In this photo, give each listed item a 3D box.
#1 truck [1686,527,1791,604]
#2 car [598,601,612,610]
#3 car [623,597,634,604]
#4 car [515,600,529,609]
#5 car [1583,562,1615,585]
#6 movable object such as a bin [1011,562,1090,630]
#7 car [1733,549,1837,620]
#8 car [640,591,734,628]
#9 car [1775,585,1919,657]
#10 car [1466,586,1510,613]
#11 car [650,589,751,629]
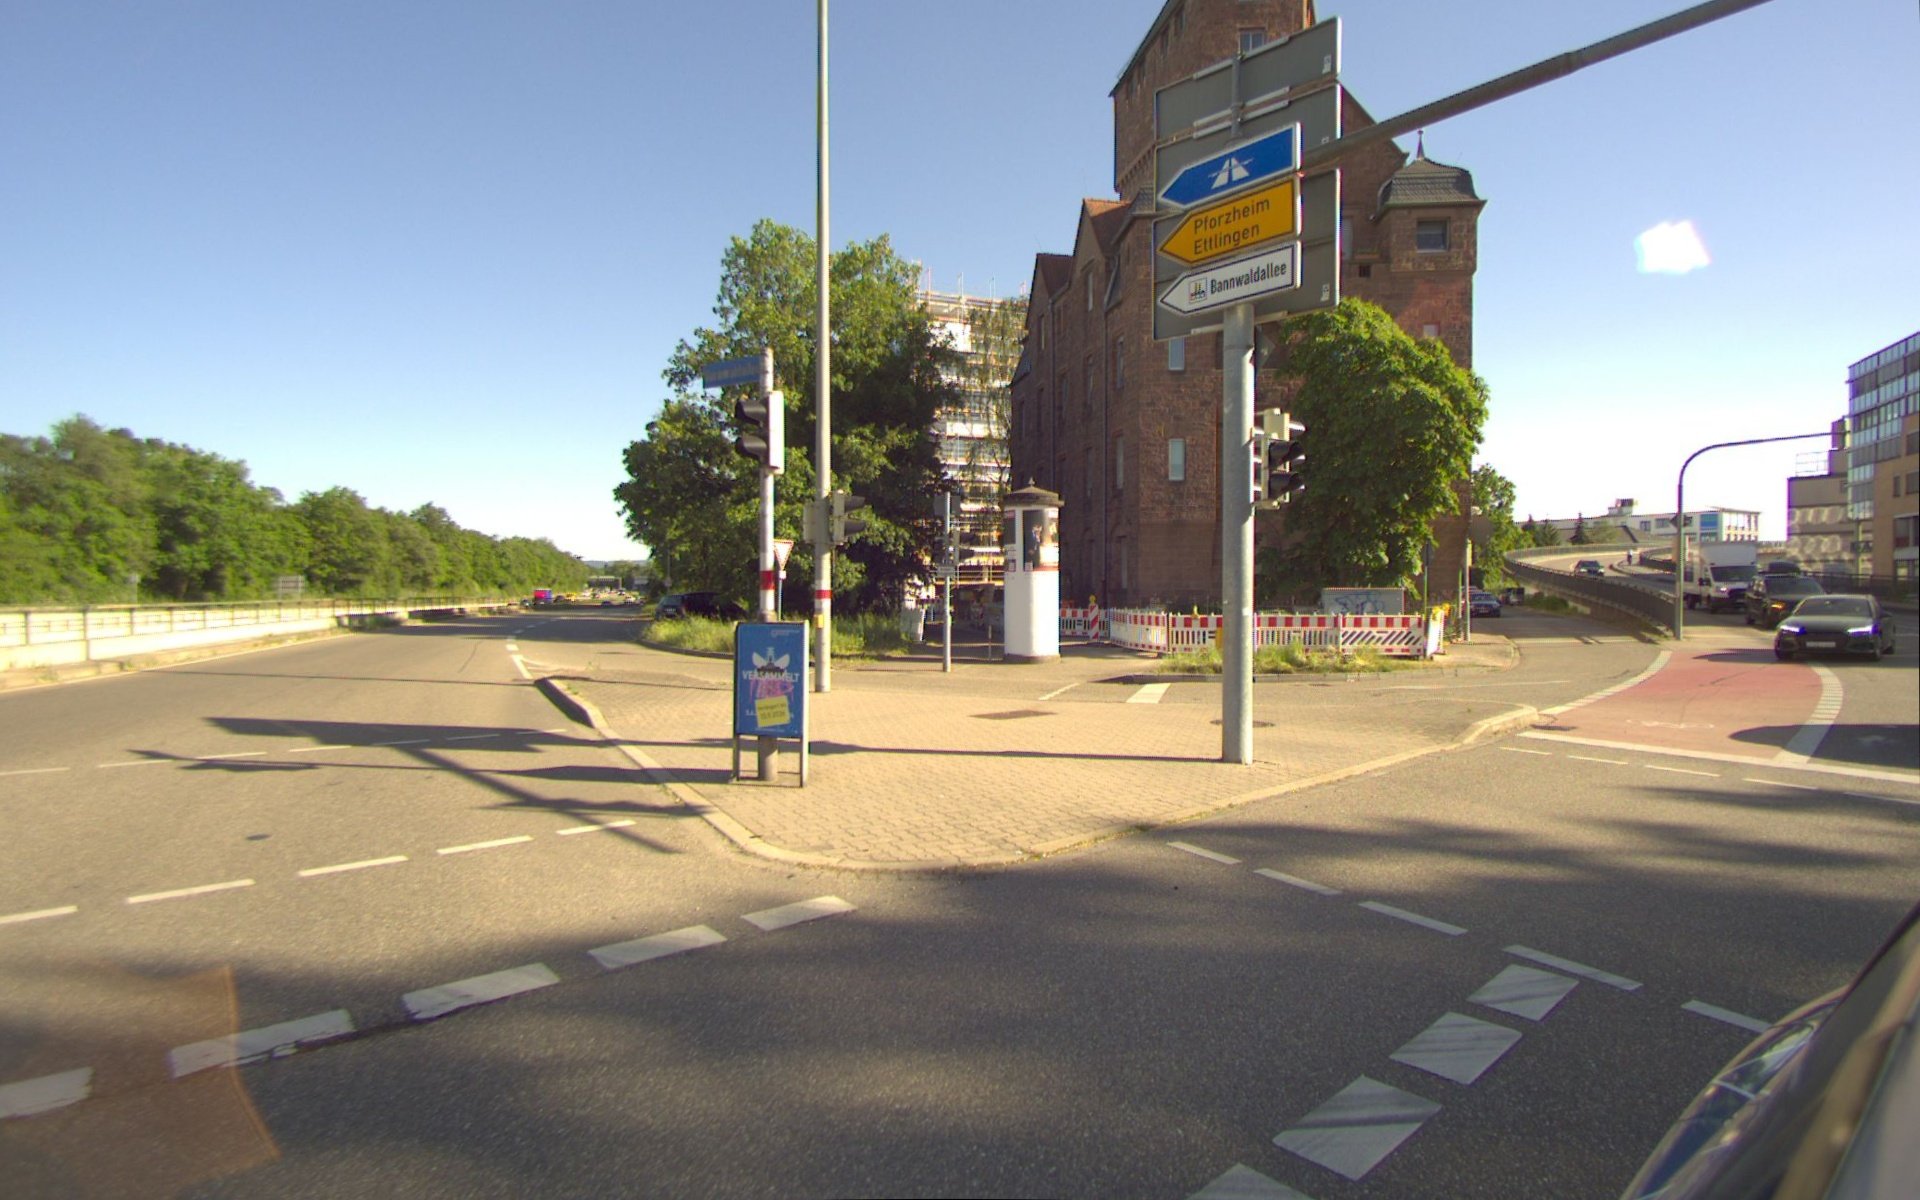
[{"bbox_3d":[34.751,-1.476,45.441,2.480,3.167,6.894,0,1,27],"label":"truck"},{"bbox_3d":[-60.463,0.896,172.424,1.958,1.415,4.008,-2,1,-17],"label":"car"},{"bbox_3d":[-67.399,0.064,205.536,1.958,1.415,4.008,-2,1,-17],"label":"car"},{"bbox_3d":[-79.161,0.833,182.996,1.958,1.415,4.008,-2,1,-17],"label":"car"},{"bbox_3d":[53.064,-2.185,84.112,1.741,1.781,4.740,0,1,27],"label":"car"},{"bbox_3d":[3.352,-0.163,38.191,1.958,2.440,4.007,0,0,-10],"label":"movable object such as a bin"},{"bbox_3d":[28.645,-0.542,35.291,1.934,2.290,4.737,0,1,29],"label":"car"},{"bbox_3d":[-12.239,0.385,45.608,1.986,1.581,3.735,1,1,34],"label":"car"},{"bbox_3d":[20.611,0.407,23.399,4.553,1.489,1.878,-1,1,-39],"label":"car"},{"bbox_3d":[31.416,-0.051,60.282,2.031,1.551,4.060,0,0,23],"label":"car"},{"bbox_3d":[-10.880,0.347,42.618,1.986,1.581,3.735,1,1,34],"label":"car"}]
